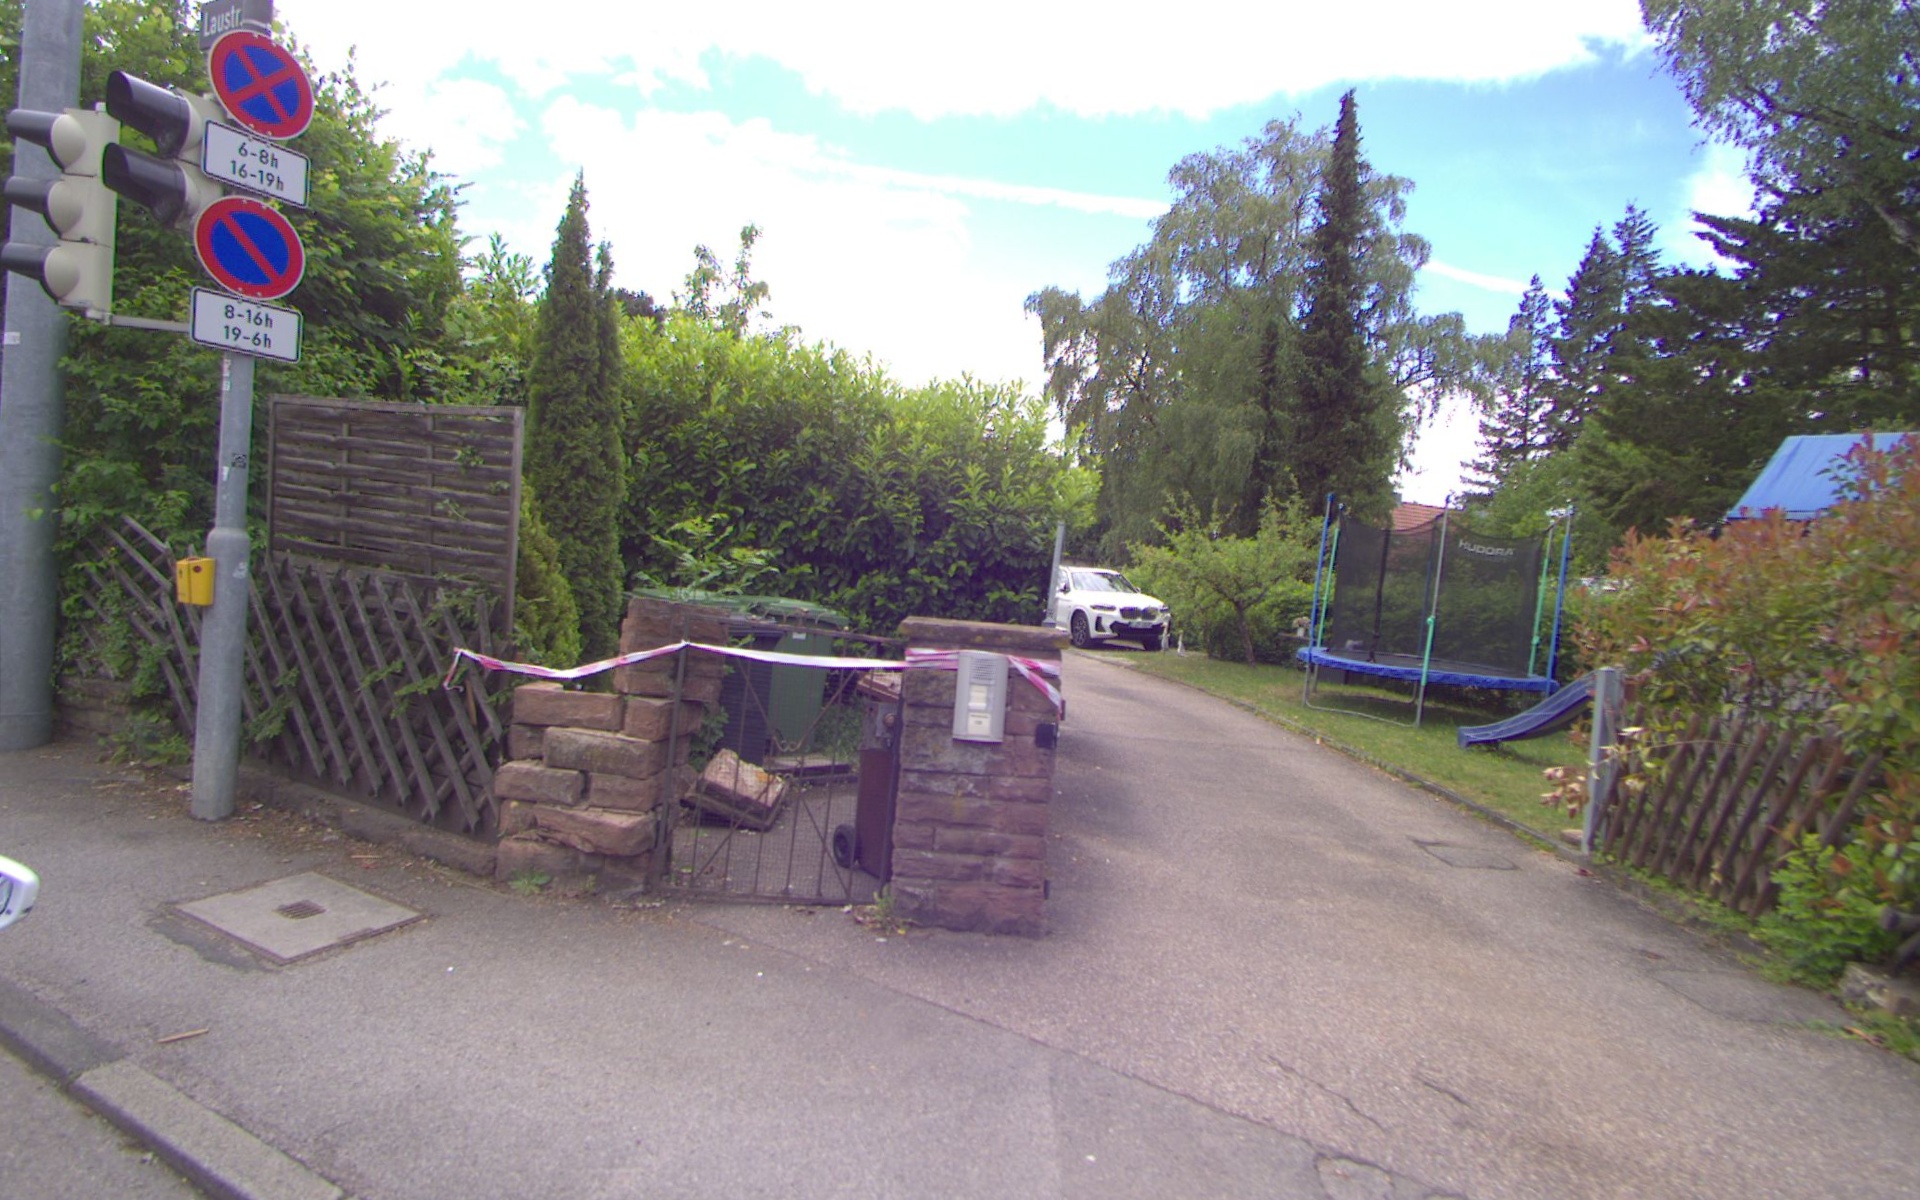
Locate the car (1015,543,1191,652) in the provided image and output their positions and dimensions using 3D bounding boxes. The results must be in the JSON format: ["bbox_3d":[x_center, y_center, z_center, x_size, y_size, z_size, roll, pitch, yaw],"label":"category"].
[{"bbox_3d":[2.905,-0.090,21.508,1.969,2.040,4.267,2,1,-18],"label":"car"}]
